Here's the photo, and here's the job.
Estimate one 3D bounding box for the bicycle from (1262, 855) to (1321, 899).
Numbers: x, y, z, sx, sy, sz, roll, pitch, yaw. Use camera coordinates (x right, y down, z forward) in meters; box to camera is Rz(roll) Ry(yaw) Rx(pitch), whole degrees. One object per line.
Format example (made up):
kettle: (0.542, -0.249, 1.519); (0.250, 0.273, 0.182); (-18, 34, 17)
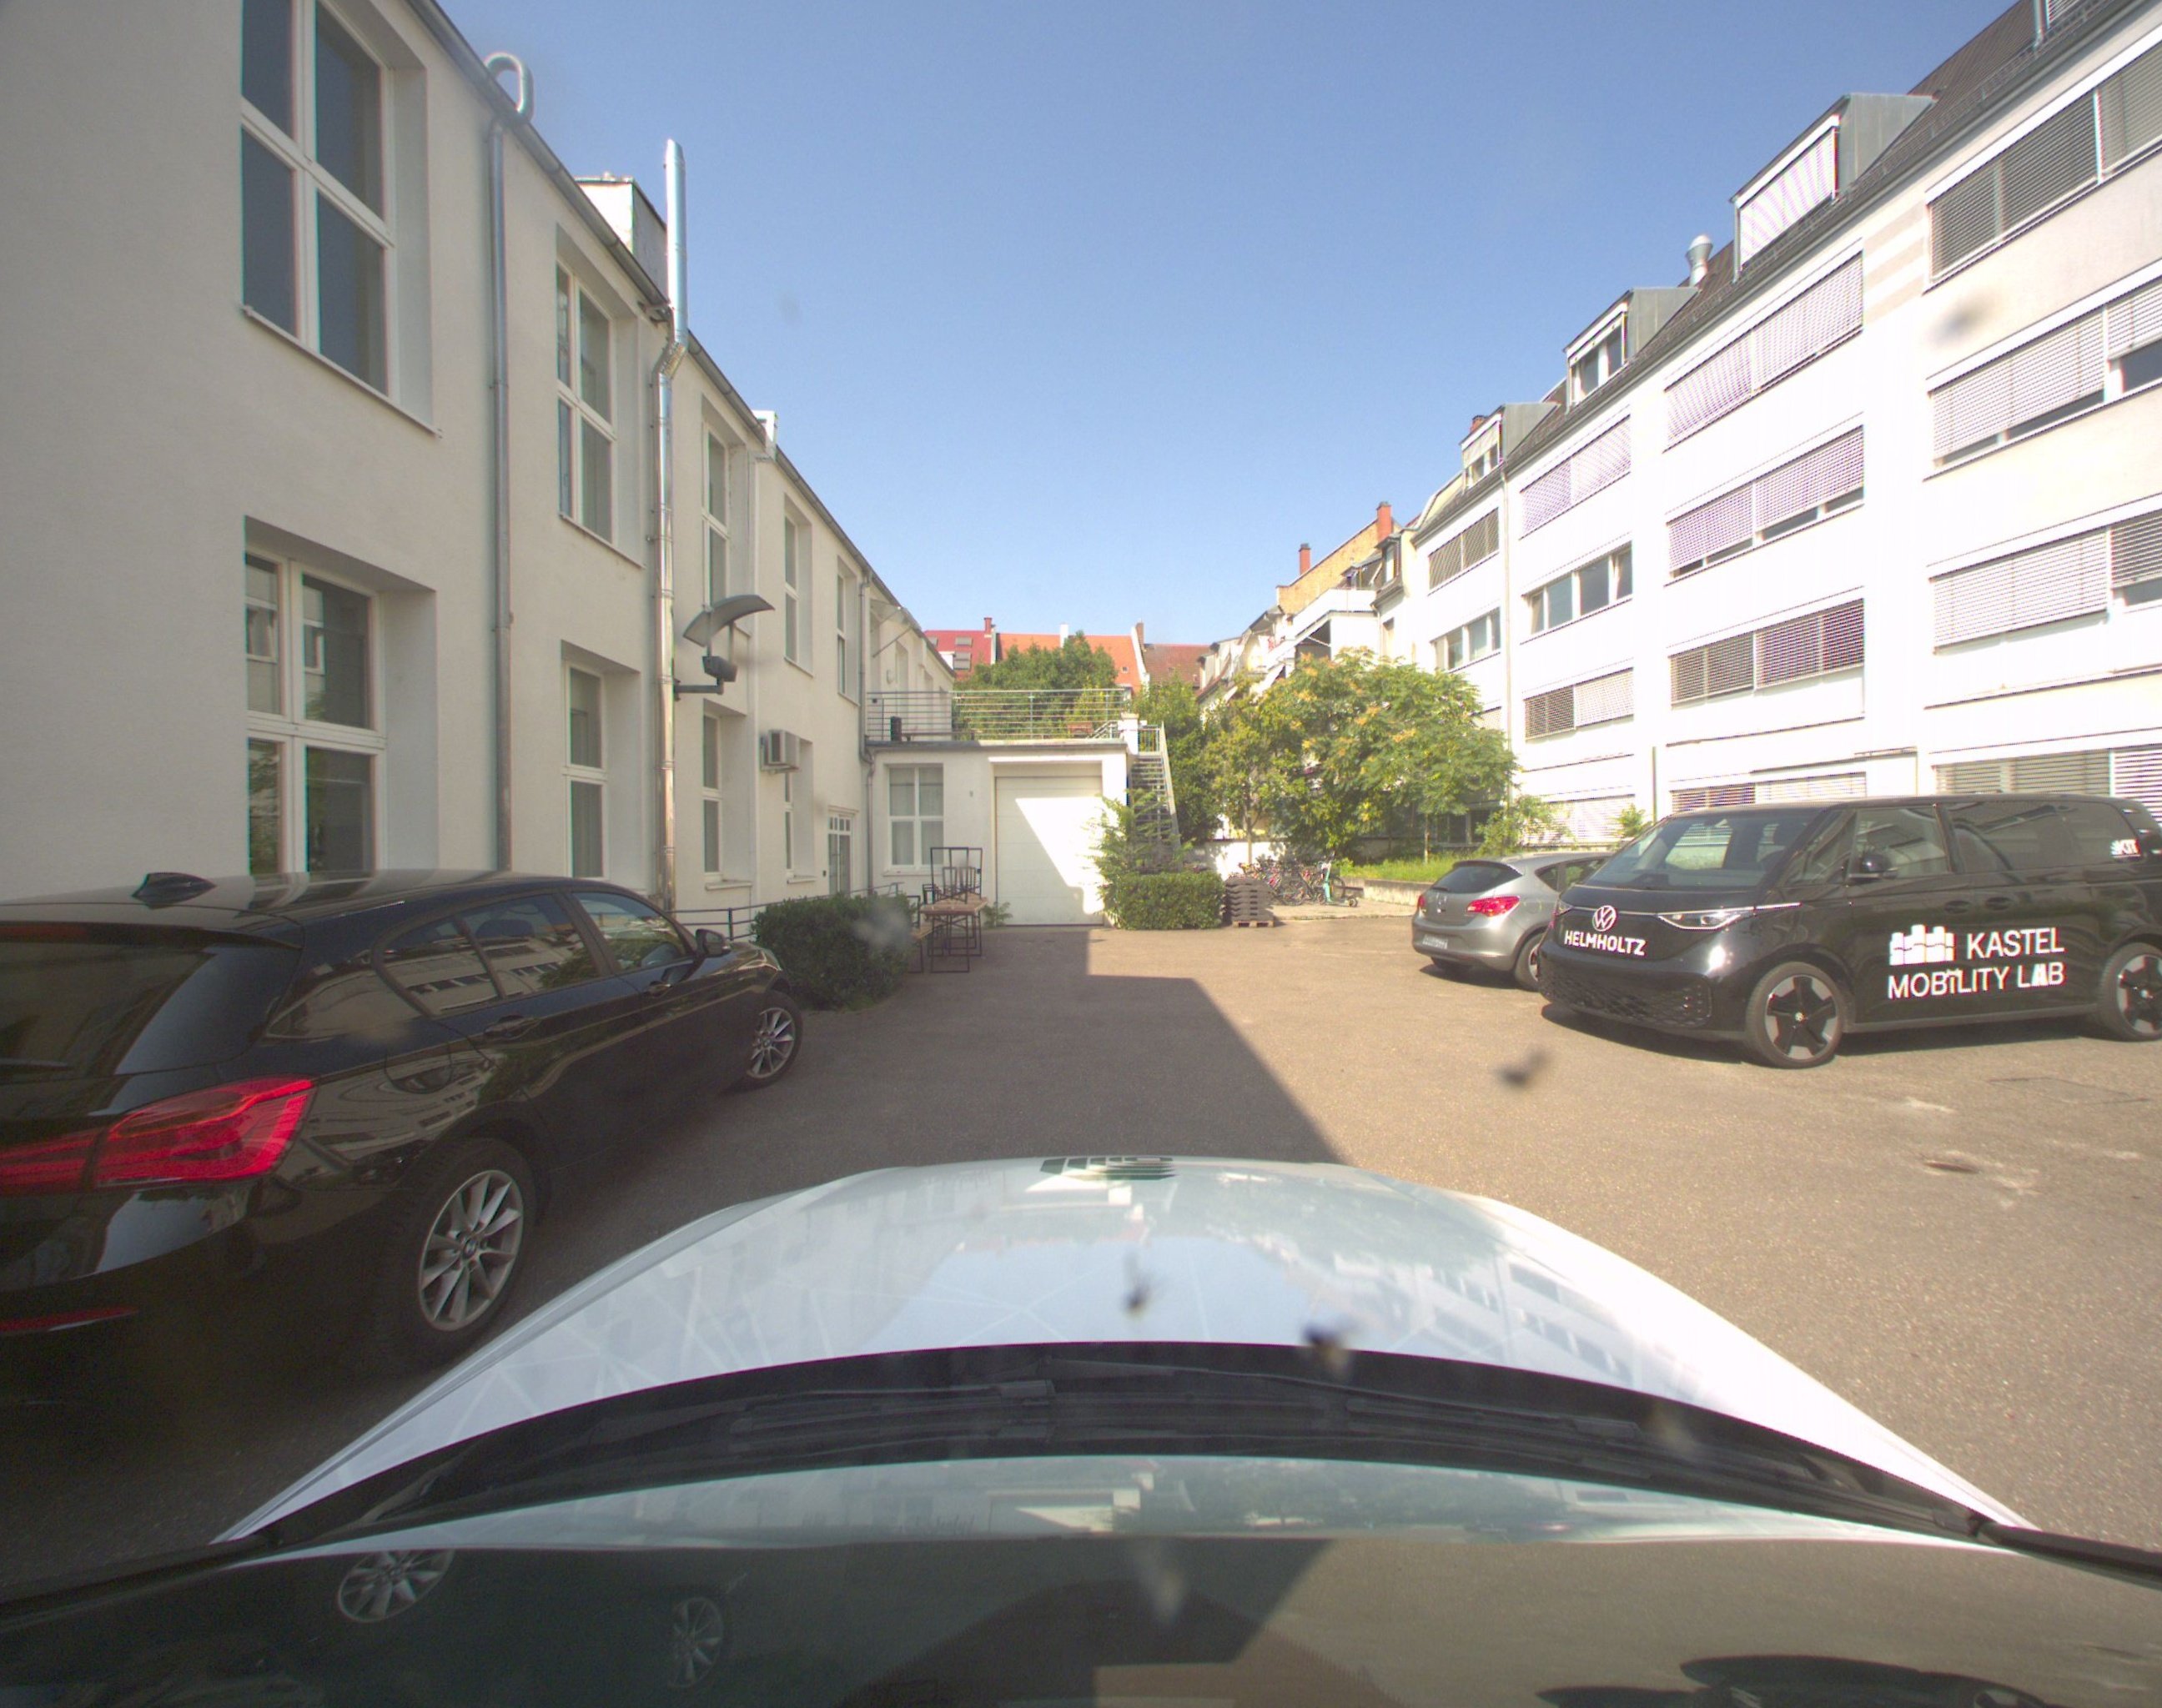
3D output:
bicycle: (6.087, 0.662, 23.630); (1.612, 1.214, 0.425); (-2, 0, 13)

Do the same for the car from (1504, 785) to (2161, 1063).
car: (6.123, 0.440, 6.625); (4.499, 1.794, 1.877); (-1, -1, -9)

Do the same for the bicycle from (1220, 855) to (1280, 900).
bicycle: (4.877, 0.672, 23.550); (1.620, 1.214, 0.423); (-2, 0, -5)

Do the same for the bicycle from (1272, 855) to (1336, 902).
bicycle: (6.016, 0.653, 22.029); (1.611, 1.214, 0.425); (-2, 0, 13)

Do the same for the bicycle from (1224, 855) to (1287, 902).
bicycle: (4.779, 0.664, 22.313); (1.618, 1.214, 0.424); (-2, 0, -1)

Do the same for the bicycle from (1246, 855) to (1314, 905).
bicycle: (5.010, 0.650, 20.527); (1.617, 1.214, 0.327); (-2, 0, 2)

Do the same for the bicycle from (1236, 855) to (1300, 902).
bicycle: (4.956, 0.658, 21.636); (1.611, 1.214, 0.328); (-2, 0, 13)

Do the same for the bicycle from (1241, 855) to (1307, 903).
bicycle: (5.028, 0.655, 21.271); (1.613, 1.214, 0.328); (-2, 0, 10)

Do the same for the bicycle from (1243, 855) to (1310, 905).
bicycle: (4.985, 0.652, 20.820); (1.617, 1.214, 0.327); (-2, 0, 2)

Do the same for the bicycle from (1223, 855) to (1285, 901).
bicycle: (4.873, 0.668, 22.947); (1.620, 1.214, 0.423); (-2, 0, -5)

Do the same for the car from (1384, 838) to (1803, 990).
car: (5.838, 0.622, 9.510); (3.931, 1.482, 1.769); (-1, -1, -9)

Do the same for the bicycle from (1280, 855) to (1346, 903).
bicycle: (6.027, 0.646, 21.168); (1.611, 1.214, 0.328); (-2, 0, 15)

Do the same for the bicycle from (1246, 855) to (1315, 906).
bicycle: (4.939, 0.649, 20.205); (1.617, 1.214, 0.327); (-2, 0, 2)

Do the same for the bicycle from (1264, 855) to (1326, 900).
bicycle: (5.929, 0.657, 22.605); (1.612, 1.214, 0.425); (-2, 0, 13)

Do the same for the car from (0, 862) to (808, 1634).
car: (-2.662, 0.780, 3.509); (1.683, 1.459, 3.921); (0, 0, -1)

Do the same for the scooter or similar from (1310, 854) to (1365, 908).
scooter or similar: (6.263, 0.642, 19.955); (0.381, 1.261, 1.335); (-2, 0, -31)
